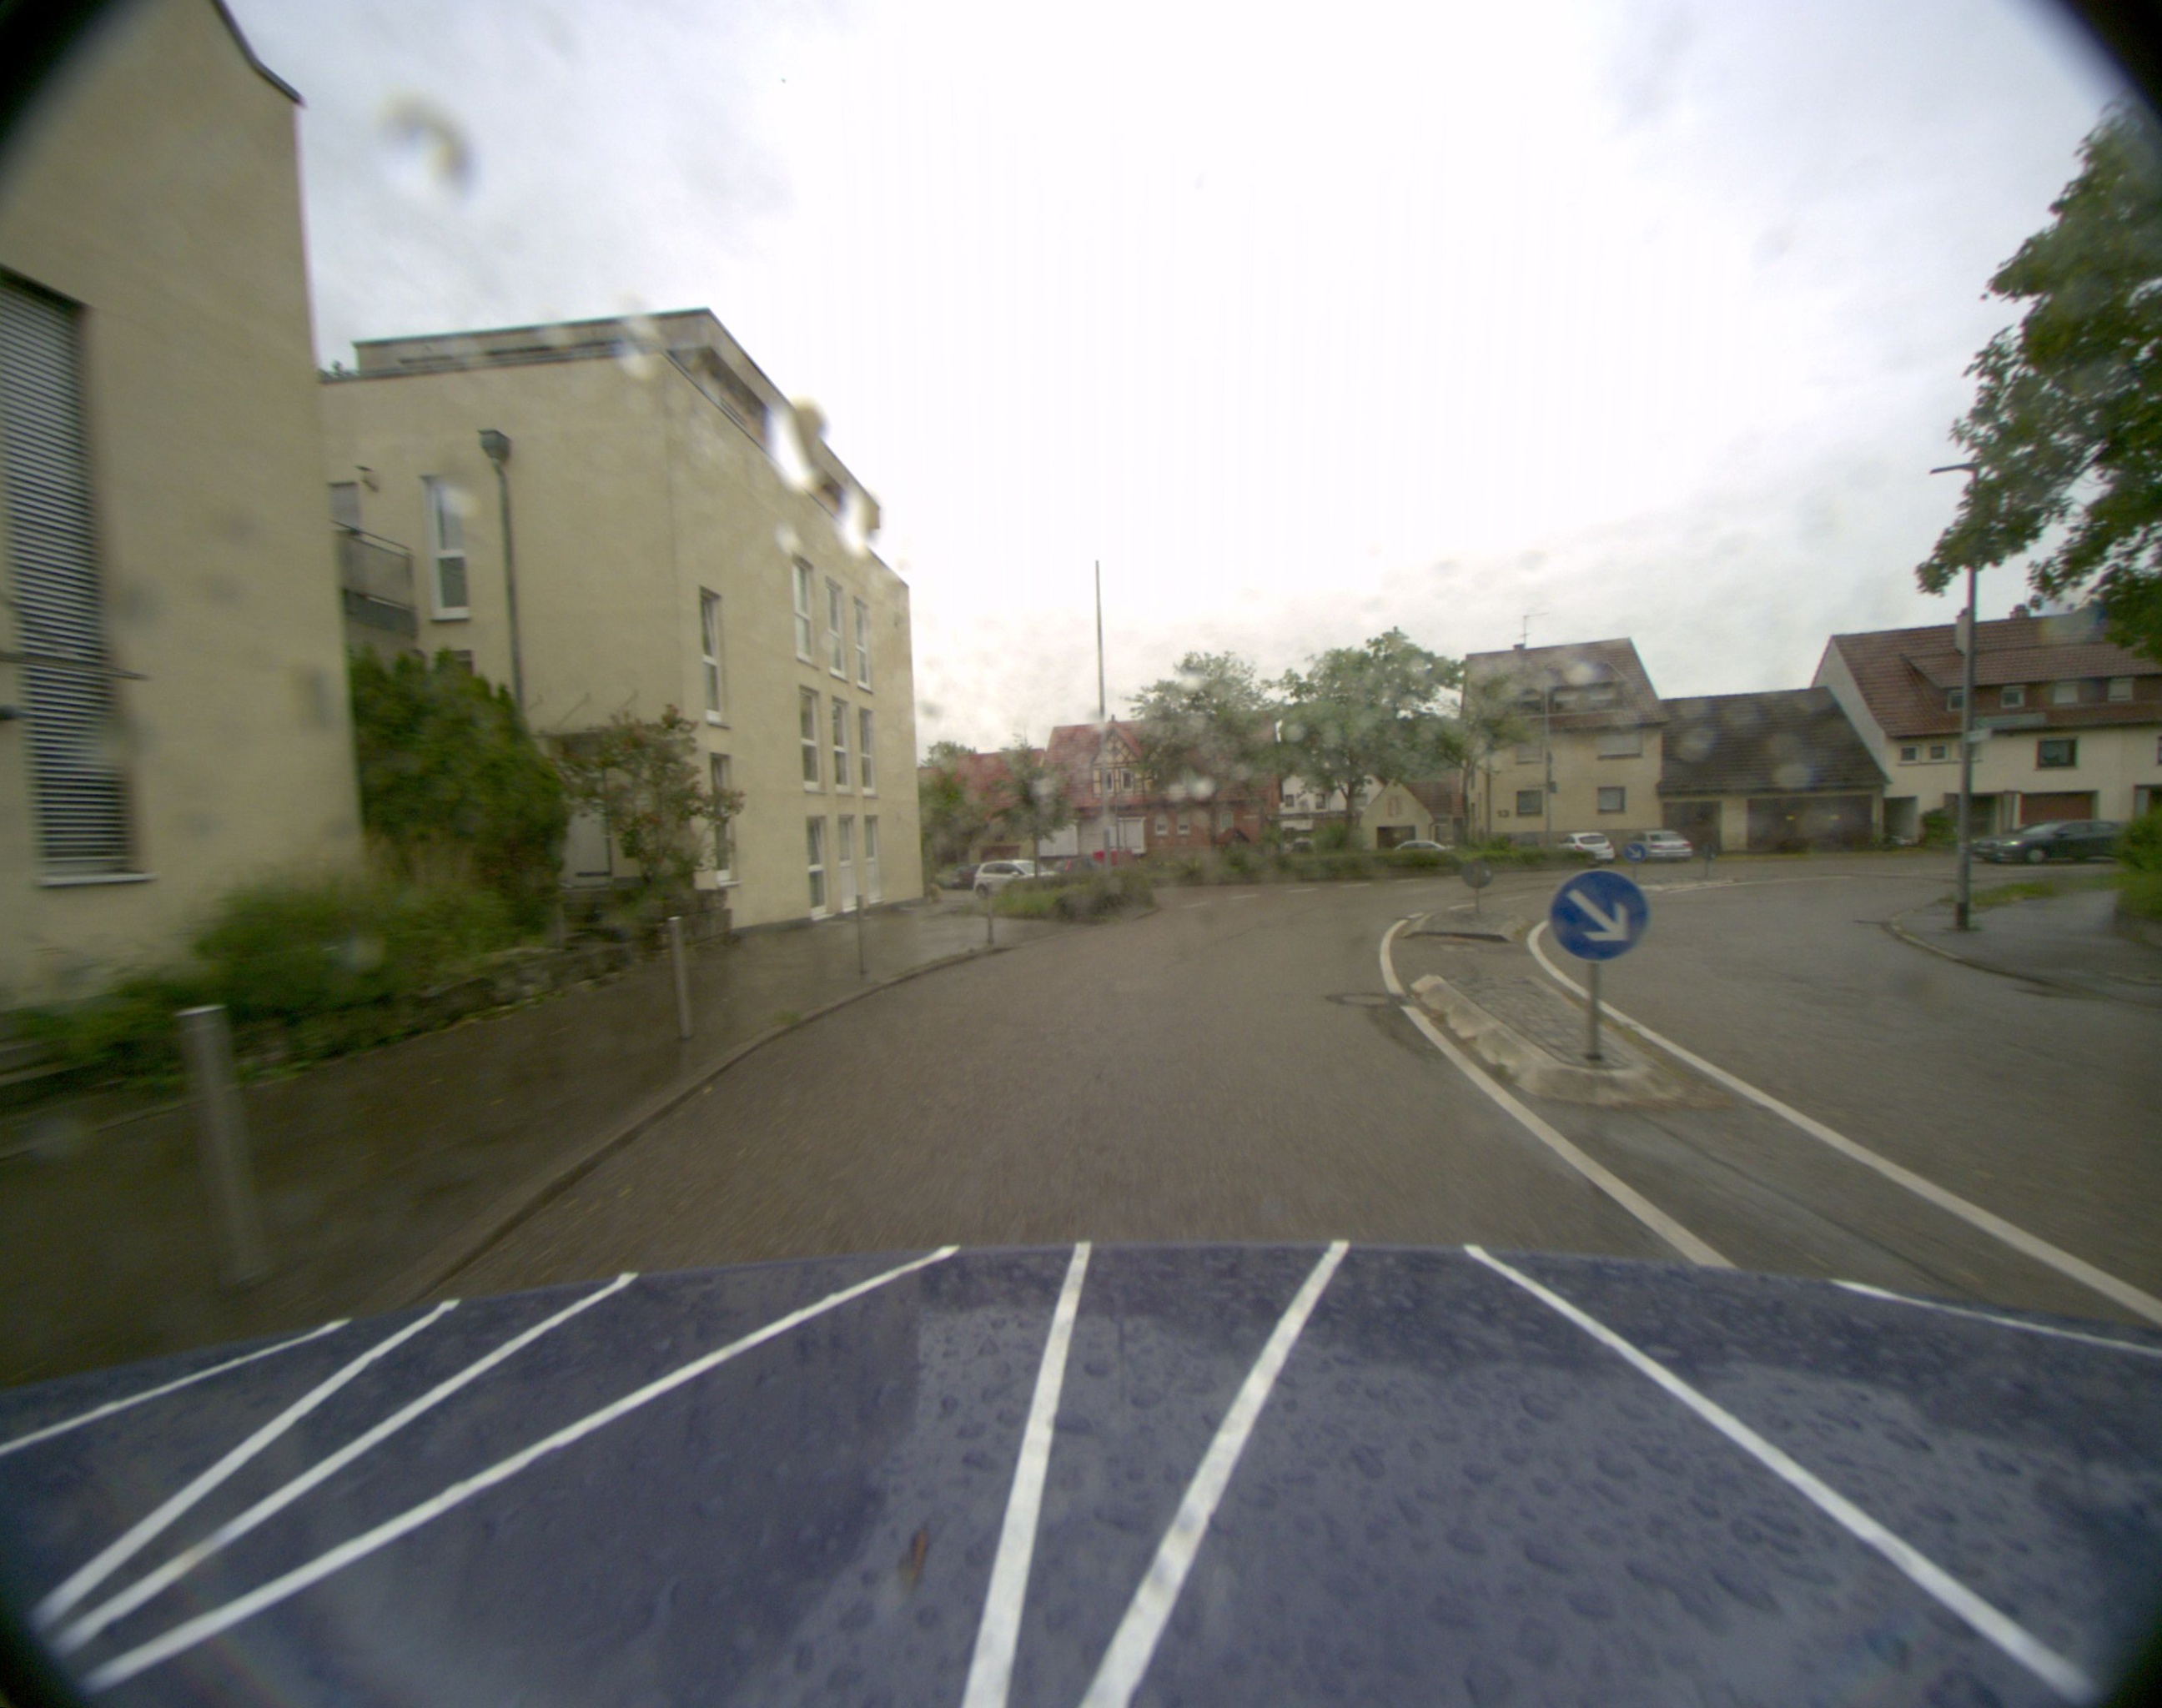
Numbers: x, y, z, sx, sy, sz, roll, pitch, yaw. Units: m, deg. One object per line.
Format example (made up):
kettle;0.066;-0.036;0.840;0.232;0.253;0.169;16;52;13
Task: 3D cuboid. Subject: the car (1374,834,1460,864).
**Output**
car;18.456;-0.299;41.926;4.256;1.431;1.910;-2;3;21

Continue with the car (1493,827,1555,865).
car;22.731;-0.446;39.139;1.745;1.574;4.001;-3;4;15

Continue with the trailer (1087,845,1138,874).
trailer;1.932;0.330;46.166;2.718;1.640;1.414;-2;1;26

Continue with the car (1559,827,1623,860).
car;25.449;-0.565;38.015;1.715;1.521;3.435;-2;1;17

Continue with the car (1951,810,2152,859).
car;34.924;-0.710;27.517;3.991;1.522;2.001;-2;5;21

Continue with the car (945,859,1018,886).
car;-5.646;1.038;43.676;1.875;1.368;4.007;-2;1;35

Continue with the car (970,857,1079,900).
car;-2.299;0.964;30.452;4.138;1.527;1.761;-2;2;37

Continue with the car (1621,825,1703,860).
car;28.017;-0.588;36.801;1.817;1.407;4.632;-2;3;20

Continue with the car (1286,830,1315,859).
car;16.414;-0.723;56.888;1.597;2.002;4.002;-2;1;10

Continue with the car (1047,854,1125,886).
car;0.292;0.804;39.574;3.740;1.382;1.619;-3;2;-33
